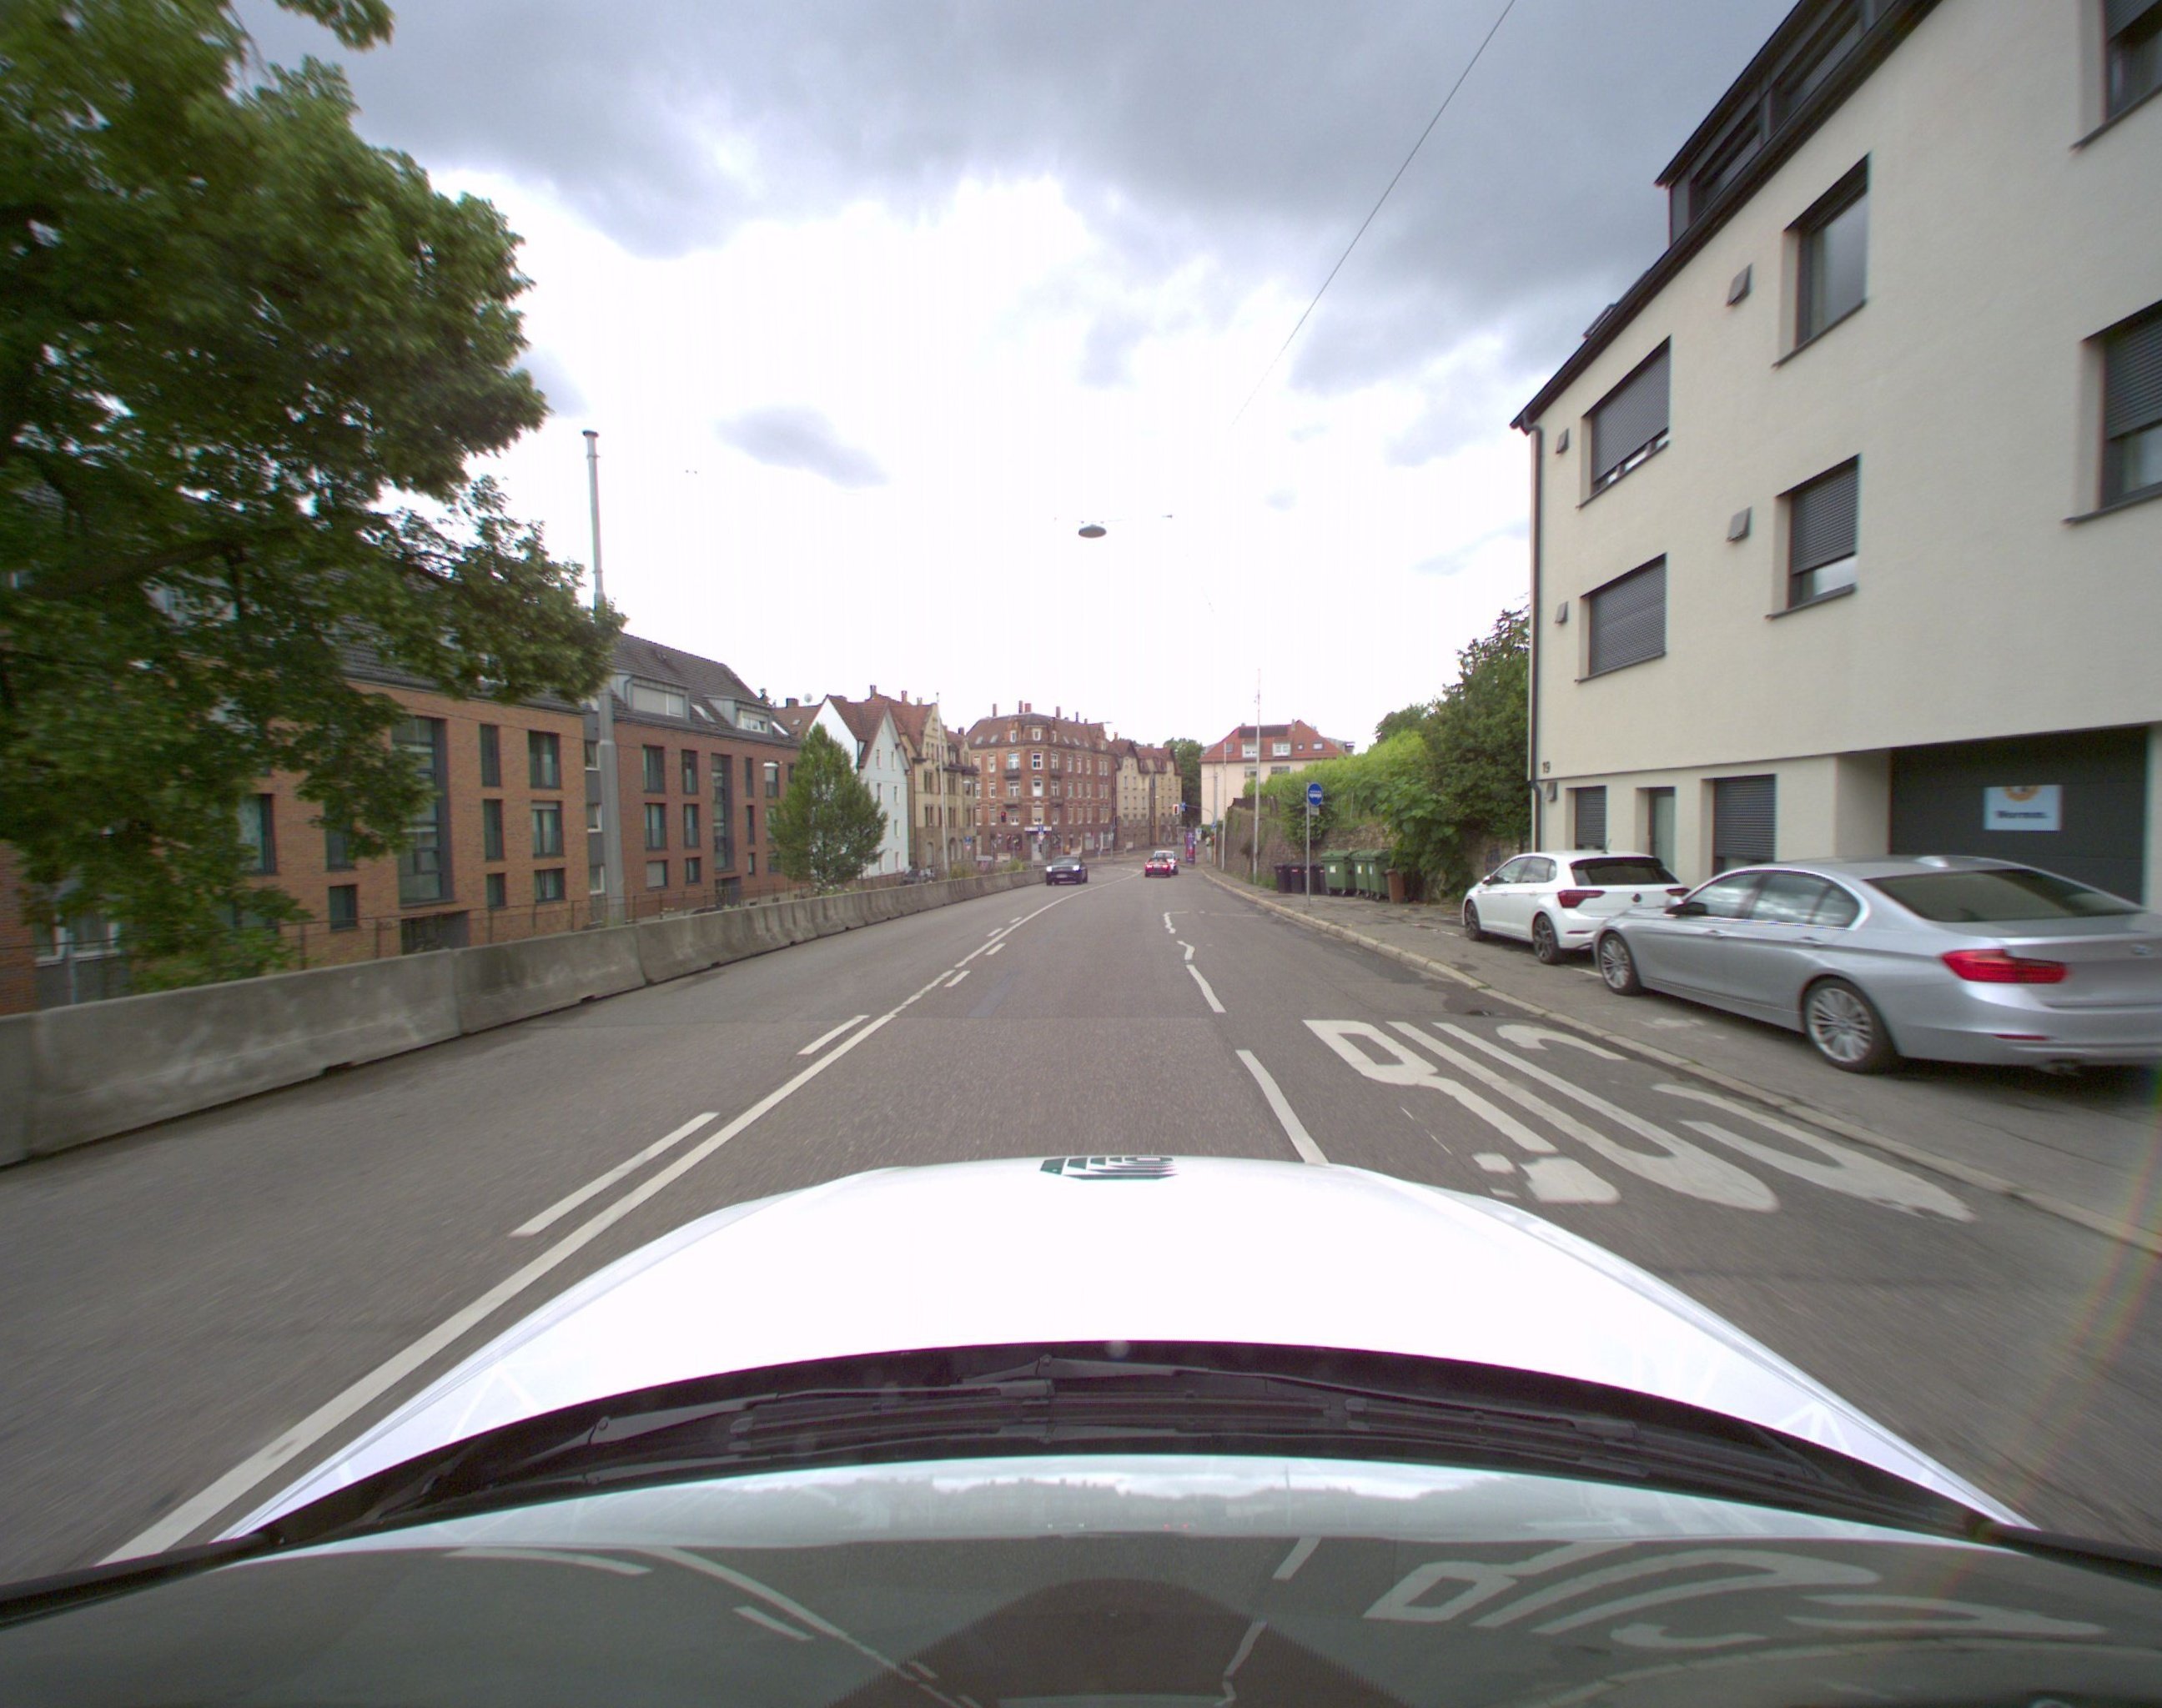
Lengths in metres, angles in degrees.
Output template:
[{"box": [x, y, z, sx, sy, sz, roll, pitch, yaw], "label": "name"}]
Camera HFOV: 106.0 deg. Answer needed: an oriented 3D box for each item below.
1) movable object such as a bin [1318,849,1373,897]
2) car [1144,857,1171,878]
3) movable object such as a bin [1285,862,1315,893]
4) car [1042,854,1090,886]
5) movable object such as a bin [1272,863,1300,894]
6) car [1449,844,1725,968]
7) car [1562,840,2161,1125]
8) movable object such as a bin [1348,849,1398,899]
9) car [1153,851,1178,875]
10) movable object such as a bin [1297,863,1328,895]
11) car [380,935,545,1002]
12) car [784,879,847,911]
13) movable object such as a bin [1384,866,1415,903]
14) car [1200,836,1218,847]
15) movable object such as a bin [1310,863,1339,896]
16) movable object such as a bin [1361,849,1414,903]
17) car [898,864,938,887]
[{"box": [8.316, 0.580, 25.681, 1.048, 1.445, 1.412, -1, -1, -13], "label": "movable object such as a bin"}, {"box": [5.505, 0.946, 58.265, 1.807, 1.430, 4.008, 1, 1, 7], "label": "car"}, {"box": [7.535, 0.802, 28.031, 0.743, 1.058, 0.676, -1, -1, -13], "label": "movable object such as a bin"}, {"box": [-0.778, 0.838, 45.477, 1.971, 1.574, 4.384, -3, 0, 7], "label": "car"}, {"box": [7.215, 0.847, 28.678, 0.743, 1.058, 0.676, -1, -1, -13], "label": "movable object such as a bin"}, {"box": [6.965, 0.619, 11.773, 1.785, 1.423, 4.011, -2, 0, 6], "label": "car"}, {"box": [6.152, 0.675, 6.800, 1.785, 1.451, 4.726, -4, 1, 5], "label": "car"}, {"box": [8.587, 0.577, 24.011, 1.044, 1.445, 1.205, -1, -1, 0], "label": "movable object such as a bin"}, {"box": [6.774, 0.692, 65.262, 1.899, 1.884, 4.007, 0, 0, 7], "label": "car"}, {"box": [7.755, 0.831, 27.263, 0.743, 1.058, 0.676, -1, -1, -13], "label": "movable object such as a bin"}, {"box": [-19.706, 3.597, 26.174, 1.783, 1.510, 4.011, -3, 0, 10], "label": "car"}, {"box": [-16.068, 2.469, 49.447, 1.783, 1.608, 4.227, -3, 0, 10], "label": "car"}, {"box": [8.471, 0.811, 21.667, 0.592, 0.942, 0.640, -1, -1, 3], "label": "movable object such as a bin"}, {"box": [21.152, -2.043, 134.456, 1.824, 1.702, 4.025, 0, 2, 28], "label": "car"}, {"box": [7.973, 0.828, 26.647, 0.710, 1.058, 0.544, -1, -1, -13], "label": "movable object such as a bin"}, {"box": [8.512, 0.601, 22.648, 1.043, 1.445, 1.206, -1, -1, 3], "label": "movable object such as a bin"}, {"box": [-13.041, 1.695, 65.392, 1.783, 1.510, 4.012, -2, 2, 10], "label": "car"}]
